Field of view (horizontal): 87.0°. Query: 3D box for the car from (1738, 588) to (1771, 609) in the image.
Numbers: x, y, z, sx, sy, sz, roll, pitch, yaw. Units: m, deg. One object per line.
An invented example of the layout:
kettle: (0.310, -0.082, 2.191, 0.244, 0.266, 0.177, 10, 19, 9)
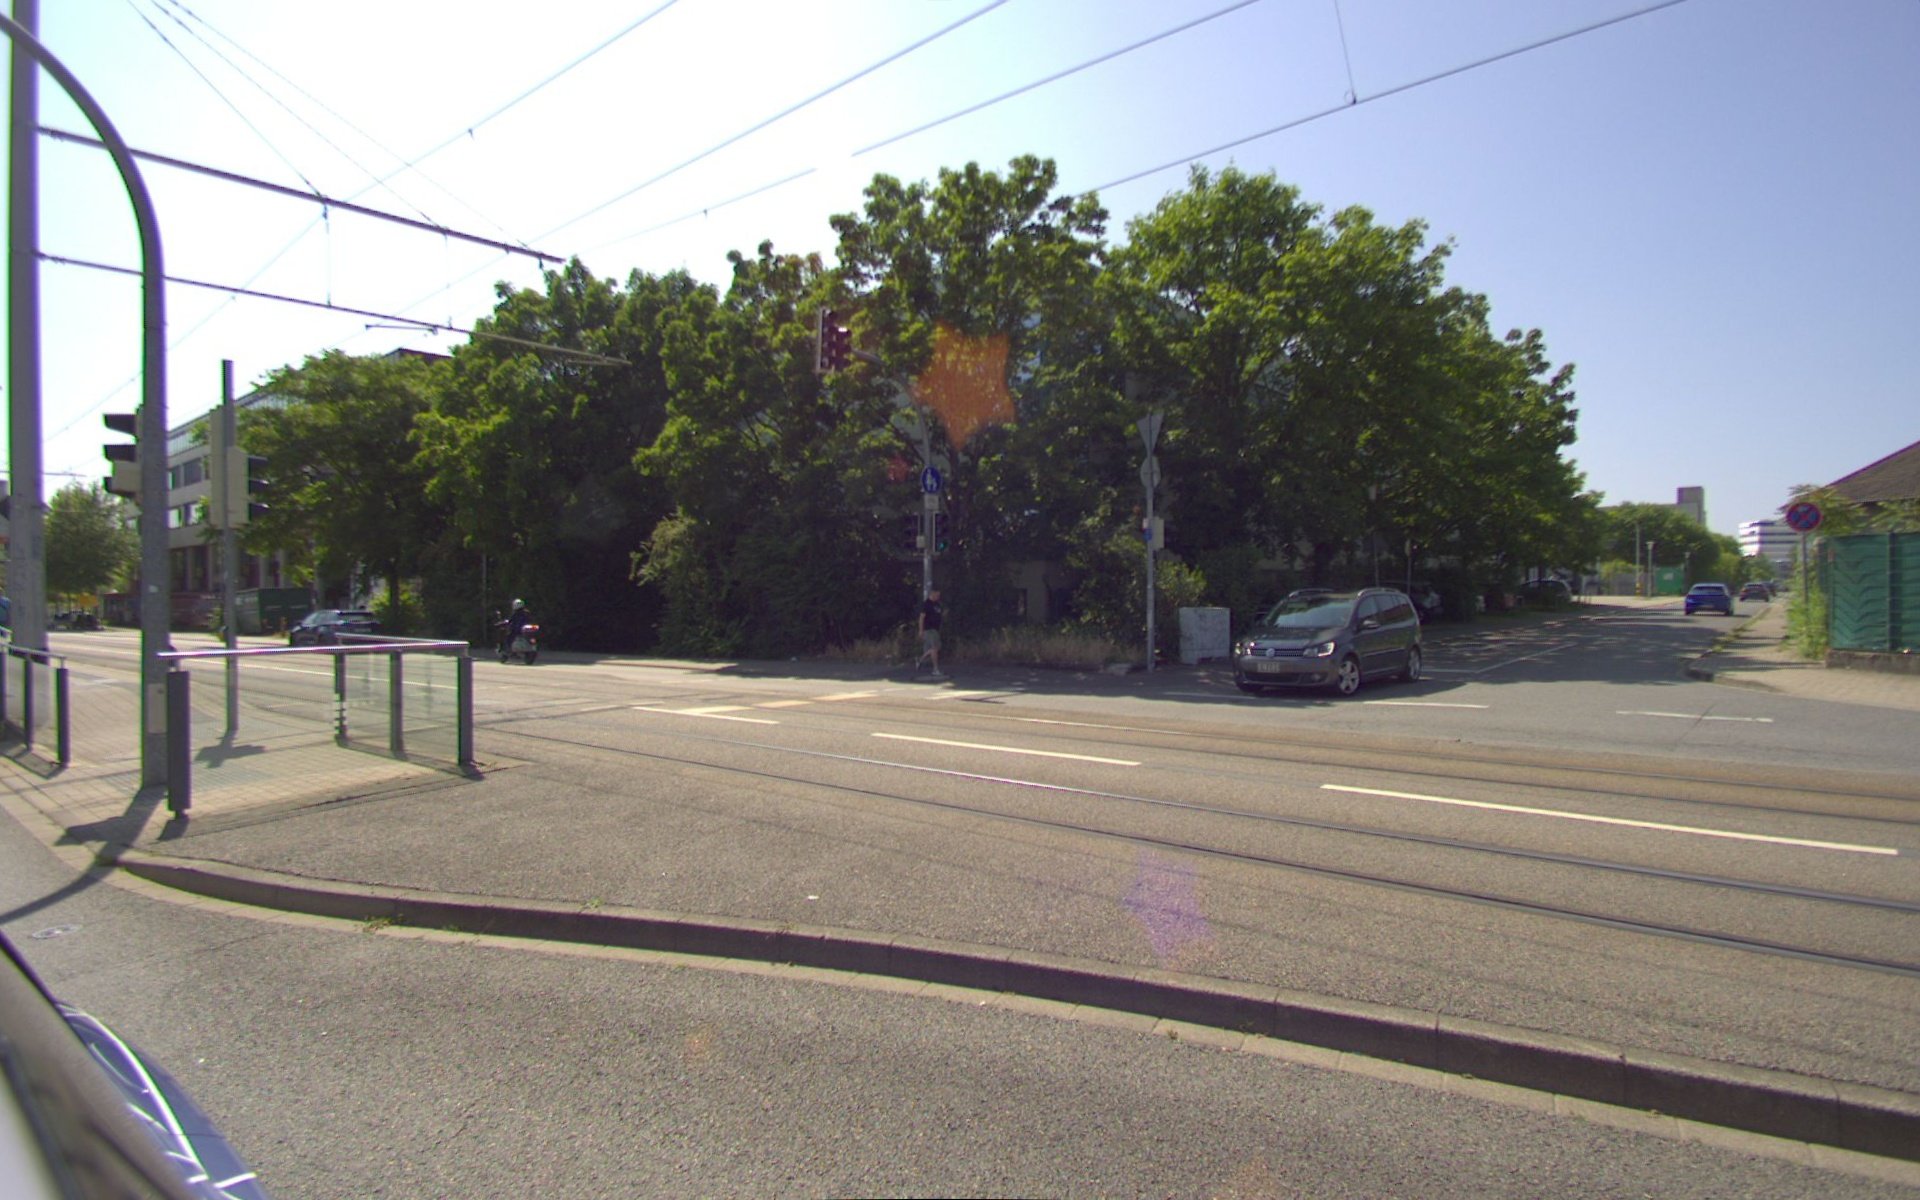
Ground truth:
car: (61.358, -0.105, 78.169, 1.806, 1.613, 3.945, -1, 0, 41)

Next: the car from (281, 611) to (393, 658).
car: (-20.950, 1.137, 33.956, 4.592, 1.453, 1.887, -1, -2, 41)

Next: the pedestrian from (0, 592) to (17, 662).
pedestrian: (-24.275, 0.676, 25.432, 0.944, 1.738, 0.716, -2, 0, 41)

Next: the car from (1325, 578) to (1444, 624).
car: (15.903, 0.068, 37.960, 3.858, 1.650, 1.607, -1, 0, 35)

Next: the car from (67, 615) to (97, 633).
car: (-80.856, 2.170, 93.176, 1.969, 1.635, 4.005, 1, -1, -42)

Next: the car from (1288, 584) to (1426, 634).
car: (12.235, 0.288, 31.415, 3.834, 1.478, 1.617, -1, 0, 17)

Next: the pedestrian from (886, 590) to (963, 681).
pedestrian: (-0.702, 0.668, 20.034, 1.159, 1.682, 0.877, 0, 4, 40)

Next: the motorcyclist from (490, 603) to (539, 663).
motorcyclist: (-11.396, 0.837, 25.863, 0.963, 1.486, 0.826, -1, 0, 43)

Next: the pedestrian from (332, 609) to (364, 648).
pedestrian: (-24.511, 1.137, 40.557, 0.845, 1.538, 0.862, -1, -1, 40)

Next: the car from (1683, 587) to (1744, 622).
car: (34.871, 0.210, 46.800, 1.806, 1.548, 4.103, -1, 0, 43)

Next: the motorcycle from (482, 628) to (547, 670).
motorcycle: (-11.416, 1.232, 25.894, 1.964, 1.019, 0.813, -1, 0, 43)

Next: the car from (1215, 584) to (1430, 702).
car: (5.999, 0.588, 16.463, 1.932, 1.595, 4.135, -1, 1, 41)

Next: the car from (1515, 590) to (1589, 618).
car: (35.983, 0.259, 61.528, 3.692, 1.619, 1.553, -1, -1, 40)
